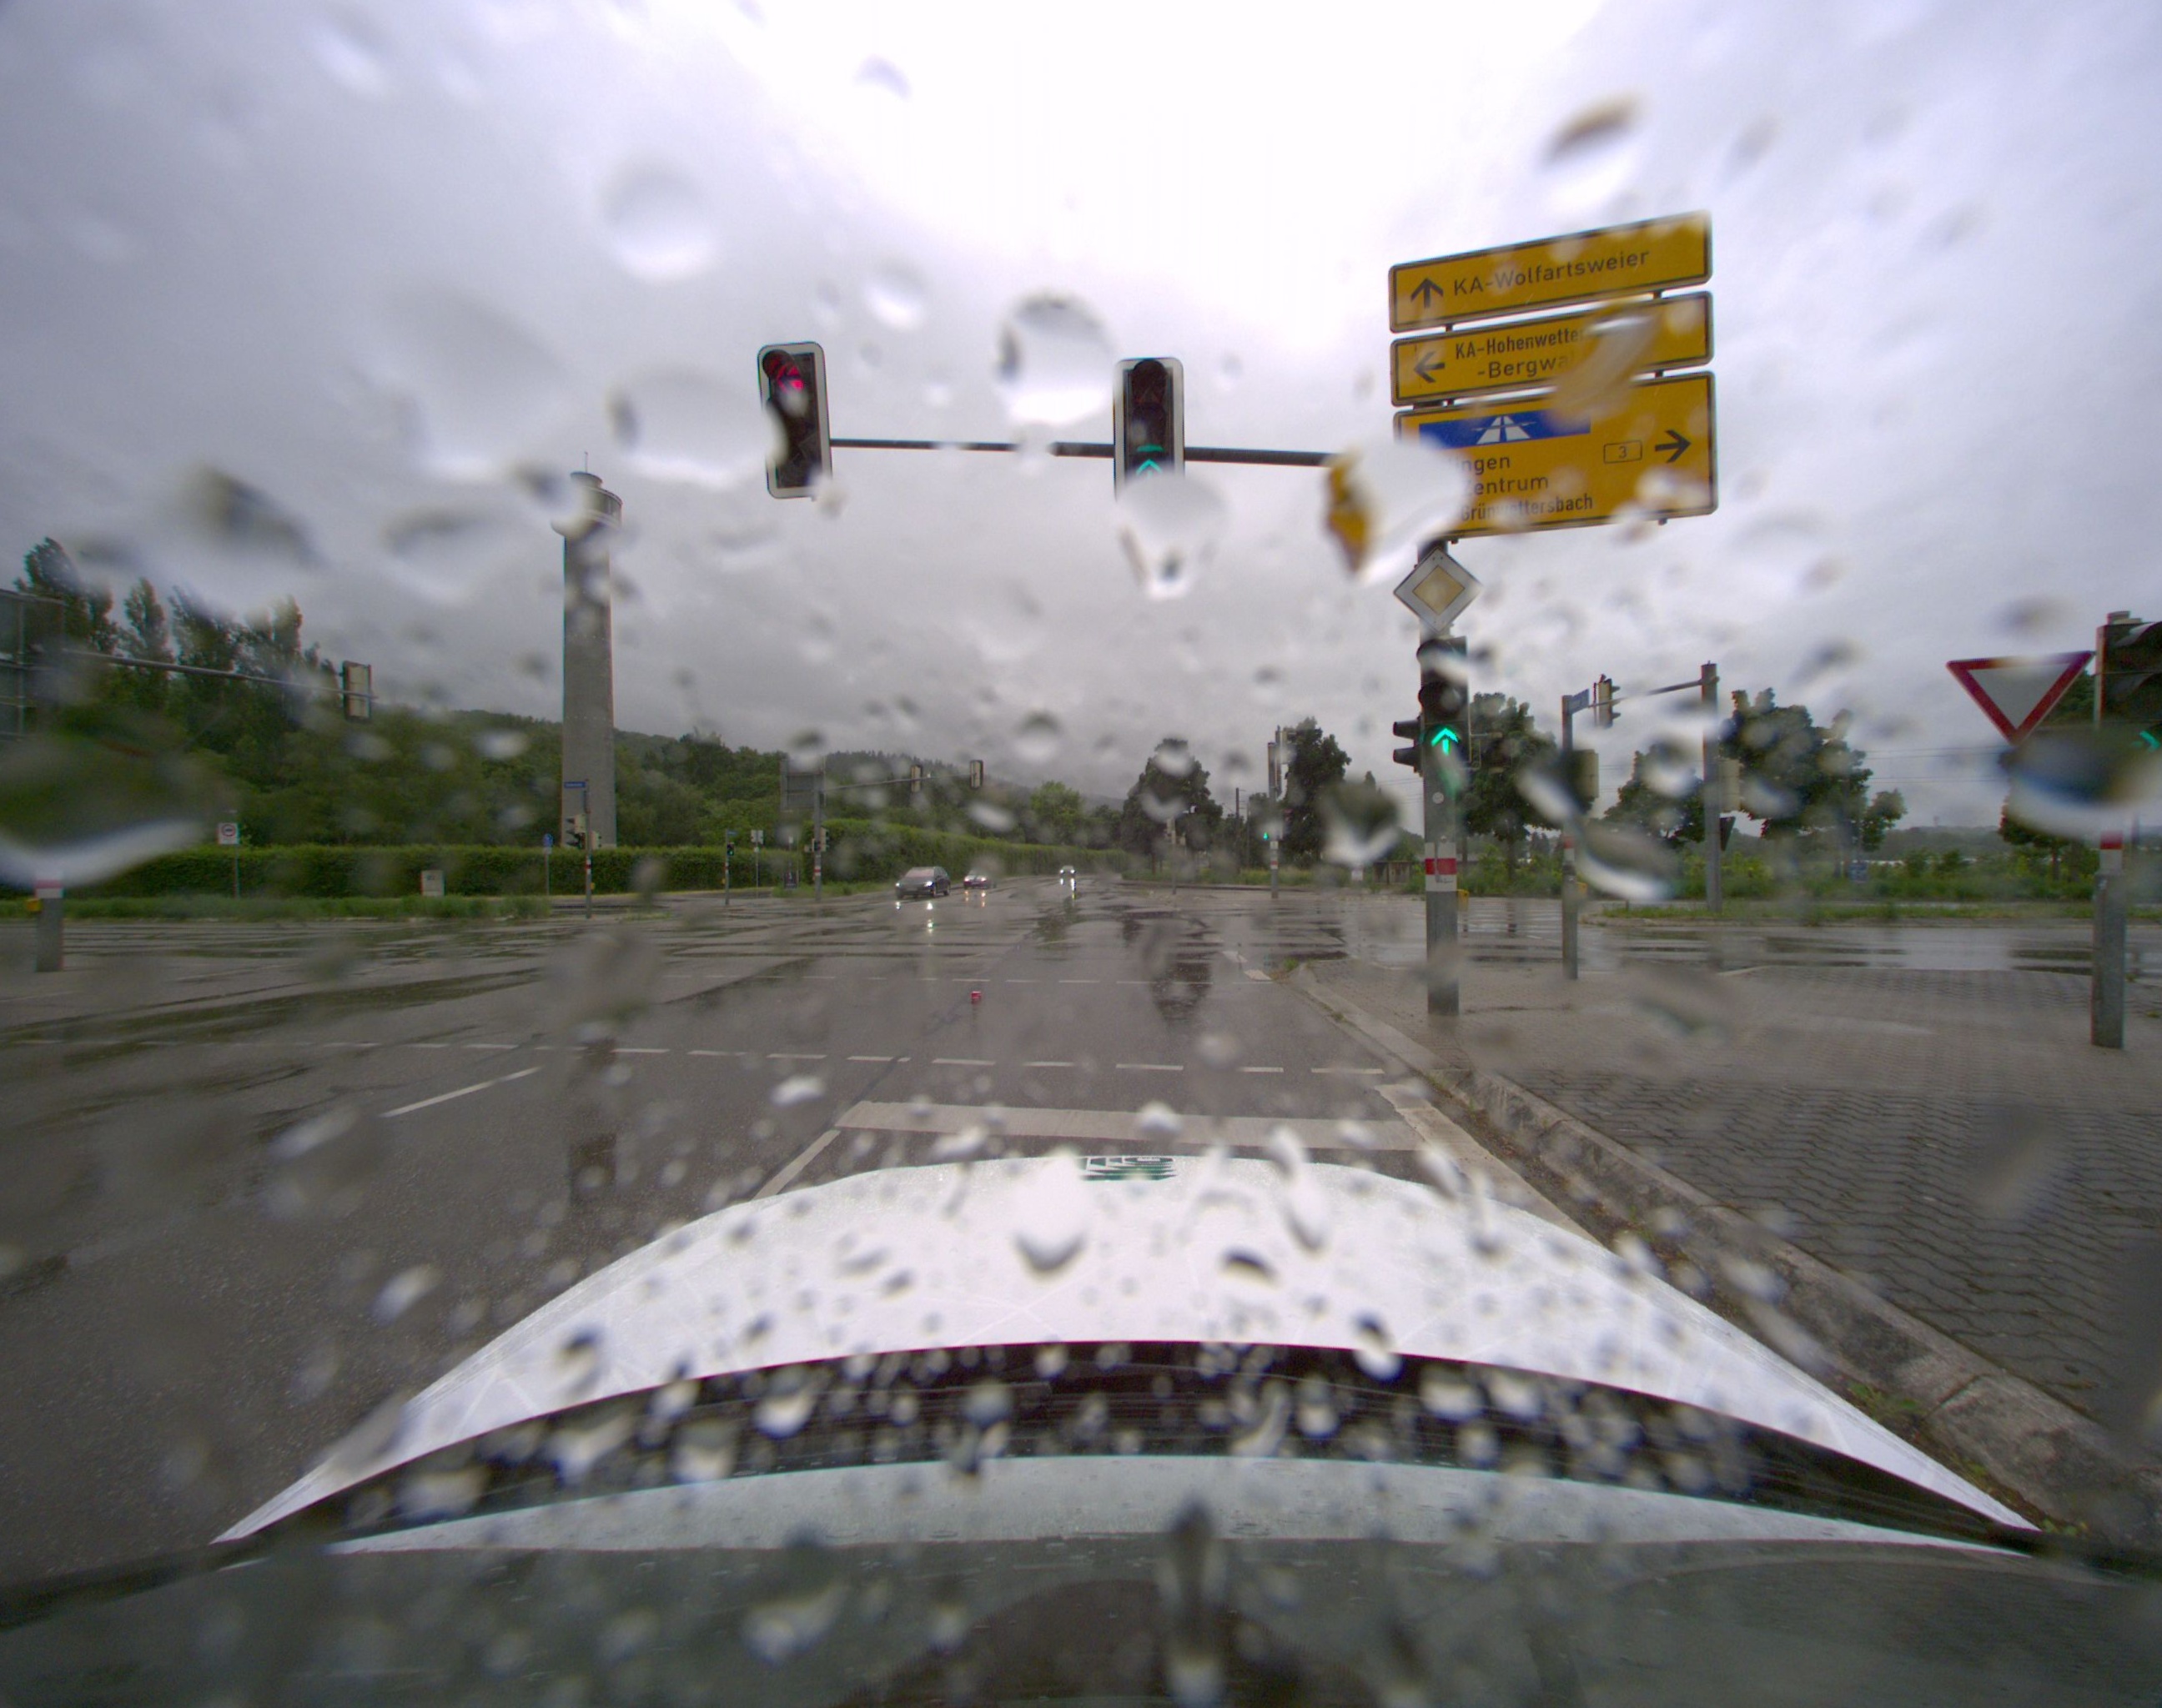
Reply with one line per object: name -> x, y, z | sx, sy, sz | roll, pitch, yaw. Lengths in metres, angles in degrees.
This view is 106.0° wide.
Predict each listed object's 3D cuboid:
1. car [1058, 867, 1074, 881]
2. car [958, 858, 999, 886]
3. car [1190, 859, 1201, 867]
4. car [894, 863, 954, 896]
car -> -1.783, 2.393, 98.506 | 1.779, 1.504, 4.061 | -2, 1, 0
car -> -6.643, 1.143, 53.402 | 2.029, 1.708, 4.067 | -1, 0, 2
car -> 28.350, 2.274, 201.657 | 1.939, 1.904, 4.137 | -1, 0, 15
car -> -7.521, 1.204, 39.403 | 1.701, 1.466, 4.458 | -1, 0, 4
